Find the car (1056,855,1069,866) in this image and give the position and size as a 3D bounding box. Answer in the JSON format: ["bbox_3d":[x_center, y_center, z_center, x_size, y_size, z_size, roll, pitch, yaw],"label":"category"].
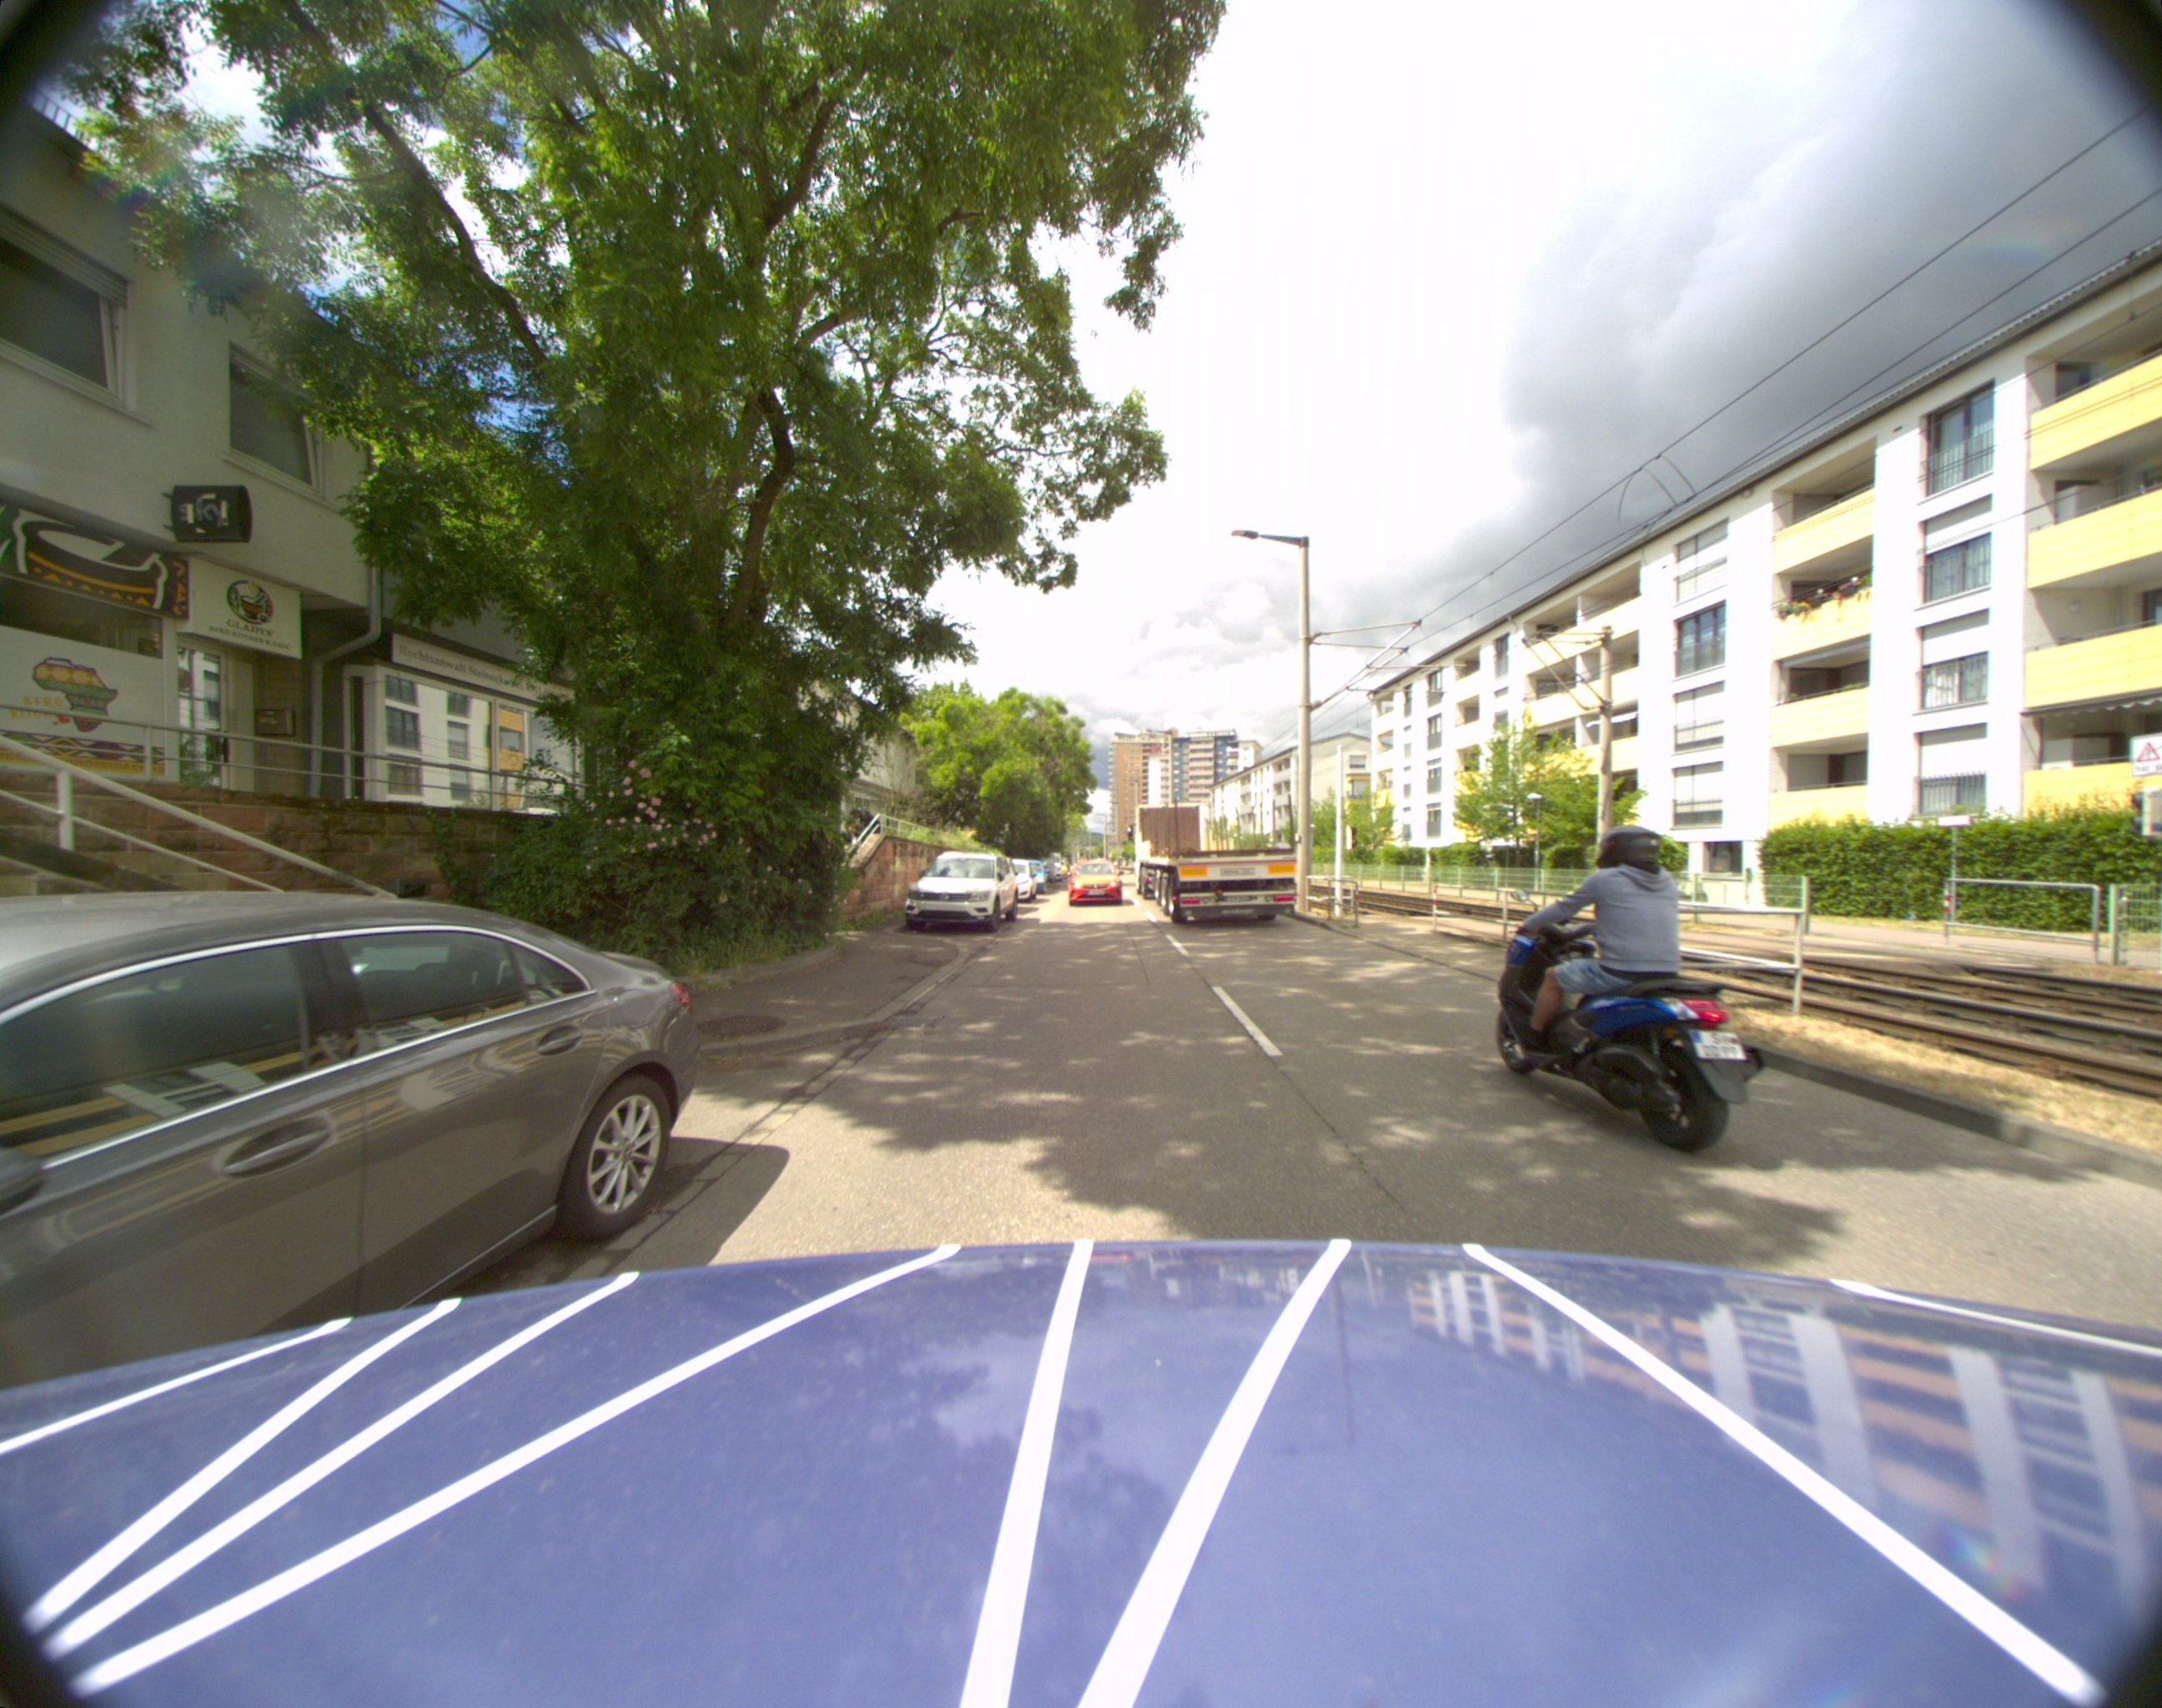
[{"bbox_3d":[-2.667,0.938,110.350,1.842,1.634,4.429,-1,0,-2],"label":"car"}]

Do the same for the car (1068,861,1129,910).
[{"bbox_3d":[0.492,0.955,24.583,1.792,1.387,4.241,-1,0,-1],"label":"car"}]

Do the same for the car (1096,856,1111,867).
[{"bbox_3d":[3.256,1.091,111.220,1.822,1.604,4.601,-2,0,-2],"label":"car"}]

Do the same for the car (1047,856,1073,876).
[{"bbox_3d":[-1.546,0.887,57.284,1.759,1.434,4.341,1,0,0],"label":"car"}]

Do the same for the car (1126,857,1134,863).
[{"bbox_3d":[13.629,1.701,210.594,1.781,1.530,3.803,-1,0,-3],"label":"car"}]

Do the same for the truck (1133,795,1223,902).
[{"bbox_3d":[3.503,-0.156,28.834,2.705,3.559,6.145,-2,0,2],"label":"truck"}]

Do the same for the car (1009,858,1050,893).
[{"bbox_3d":[-2.210,0.903,33.532,1.612,1.448,3.675,1,0,-1],"label":"car"}]

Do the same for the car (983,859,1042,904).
[{"bbox_3d":[-2.373,0.926,27.116,1.649,1.481,3.822,-1,0,1],"label":"car"}]

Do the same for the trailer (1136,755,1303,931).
[{"bbox_3d":[3.350,-0.188,22.493,2.705,3.559,13.676,-2,0,2],"label":"trailer"}]

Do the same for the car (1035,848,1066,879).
[{"bbox_3d":[-2.032,0.624,51.702,1.919,1.947,5.744,0,0,-1],"label":"car"}]

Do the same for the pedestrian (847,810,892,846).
[{"bbox_3d":[-4.743,-0.579,17.082,0.797,0.785,0.705,-1,0,0],"label":"pedestrian"}]

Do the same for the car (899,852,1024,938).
[{"bbox_3d":[-2.509,0.803,17.138,1.828,1.672,4.577,0,0,4],"label":"car"}]

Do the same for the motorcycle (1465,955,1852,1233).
[{"bbox_3d":[2.958,1.162,4.201,0.749,0.948,1.832,-2,0,1],"label":"motorcycle"}]

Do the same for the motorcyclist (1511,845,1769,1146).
[{"bbox_3d":[2.964,0.691,4.129,0.749,1.458,0.887,-1,0,1],"label":"motorcyclist"}]

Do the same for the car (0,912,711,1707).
[{"bbox_3d":[-2.856,0.987,1.581,1.840,1.397,4.414,1,0,3],"label":"car"}]

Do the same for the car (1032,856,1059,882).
[{"bbox_3d":[-2.129,0.892,46.117,1.517,1.525,2.847,1,0,0],"label":"car"}]

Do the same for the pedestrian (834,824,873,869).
[{"bbox_3d":[-4.905,-0.167,16.419,0.643,0.939,0.616,1,0,0],"label":"pedestrian"}]

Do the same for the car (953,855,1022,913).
[{"bbox_3d":[-2.651,0.820,22.115,1.585,1.543,3.475,-1,0,0],"label":"car"}]
